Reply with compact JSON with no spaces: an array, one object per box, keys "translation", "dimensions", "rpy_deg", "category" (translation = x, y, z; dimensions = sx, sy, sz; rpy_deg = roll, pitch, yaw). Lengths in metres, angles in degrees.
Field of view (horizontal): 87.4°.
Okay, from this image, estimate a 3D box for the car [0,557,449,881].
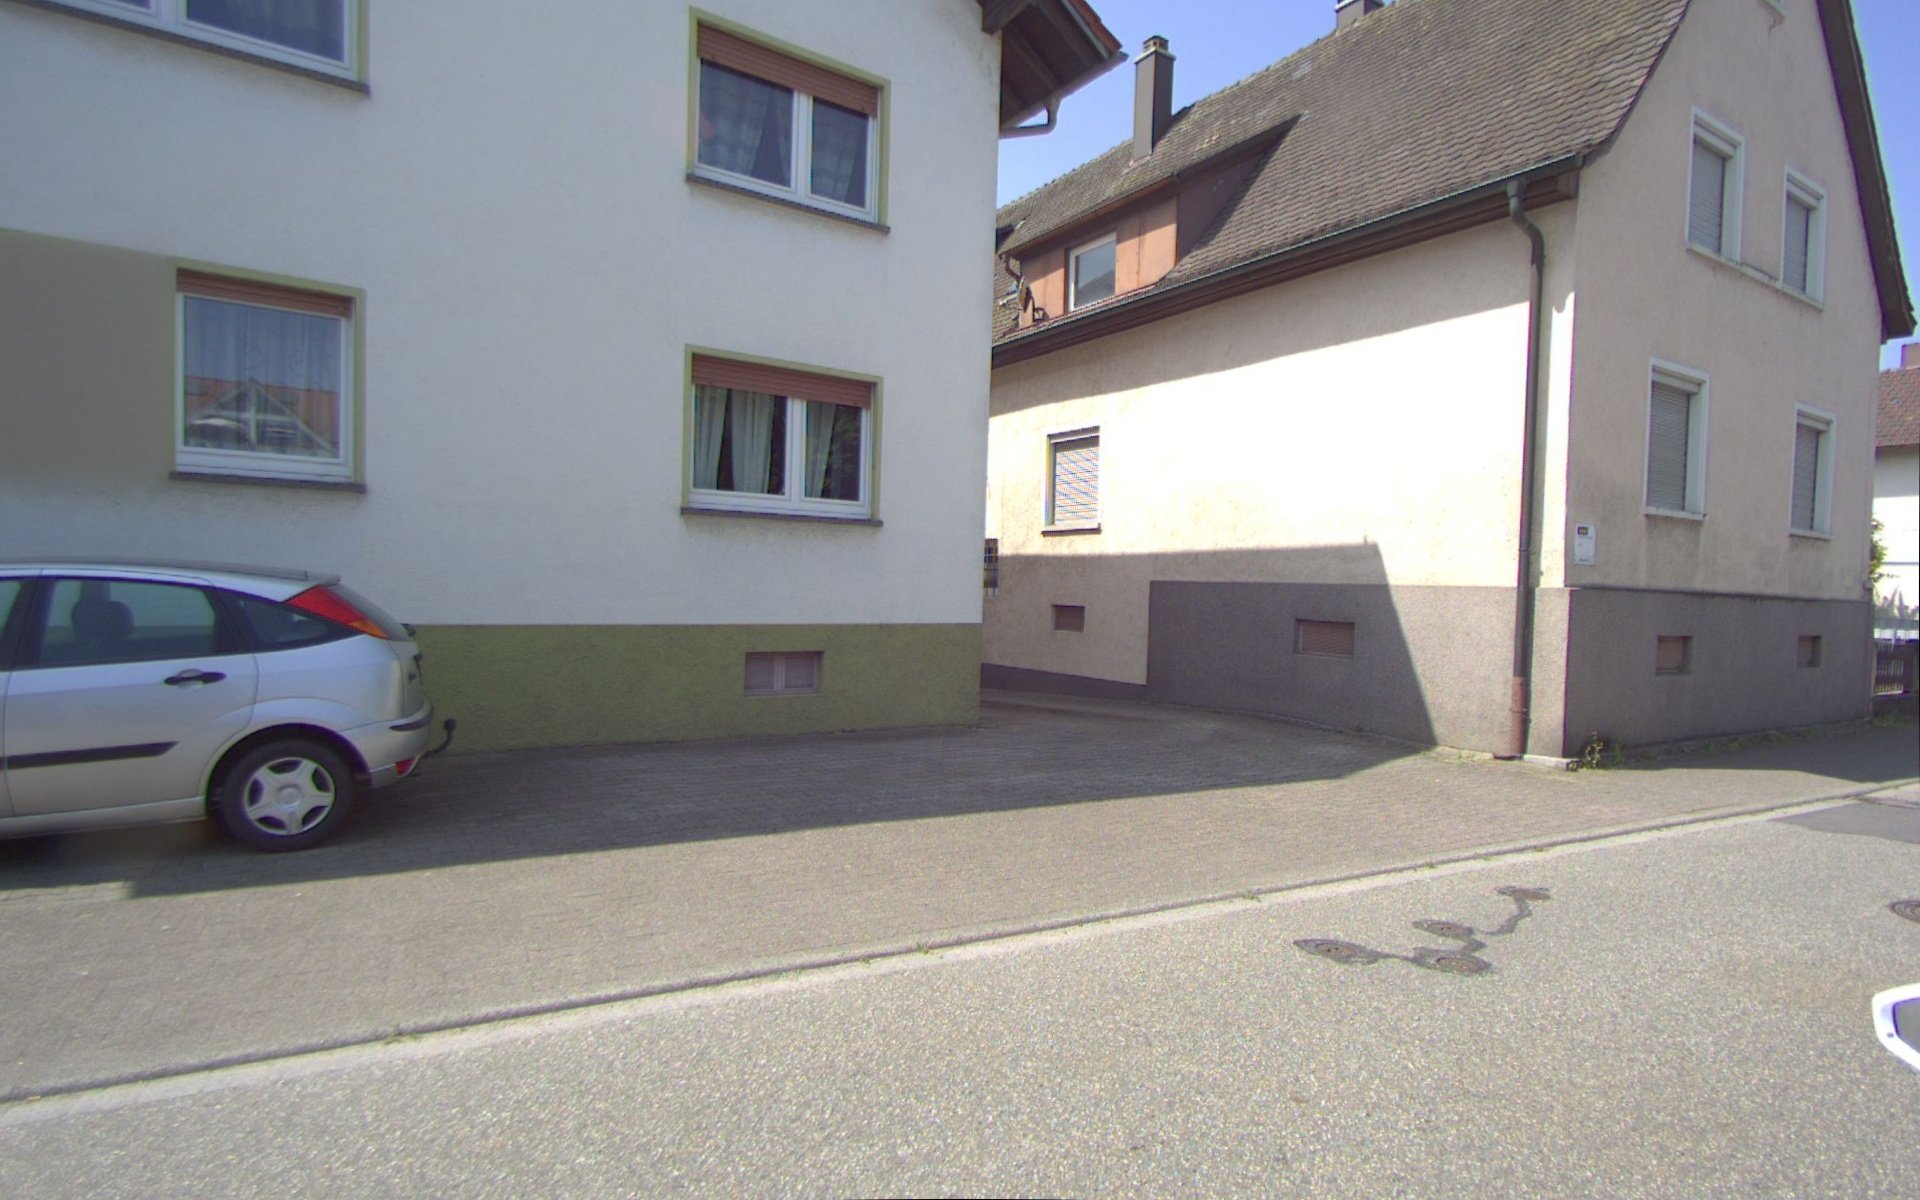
[{"translation":[-4.924,0.509,5.158],"dimensions":[4.009,1.454,1.769],"rpy_deg":[1,2,-31],"category":"car"}]
